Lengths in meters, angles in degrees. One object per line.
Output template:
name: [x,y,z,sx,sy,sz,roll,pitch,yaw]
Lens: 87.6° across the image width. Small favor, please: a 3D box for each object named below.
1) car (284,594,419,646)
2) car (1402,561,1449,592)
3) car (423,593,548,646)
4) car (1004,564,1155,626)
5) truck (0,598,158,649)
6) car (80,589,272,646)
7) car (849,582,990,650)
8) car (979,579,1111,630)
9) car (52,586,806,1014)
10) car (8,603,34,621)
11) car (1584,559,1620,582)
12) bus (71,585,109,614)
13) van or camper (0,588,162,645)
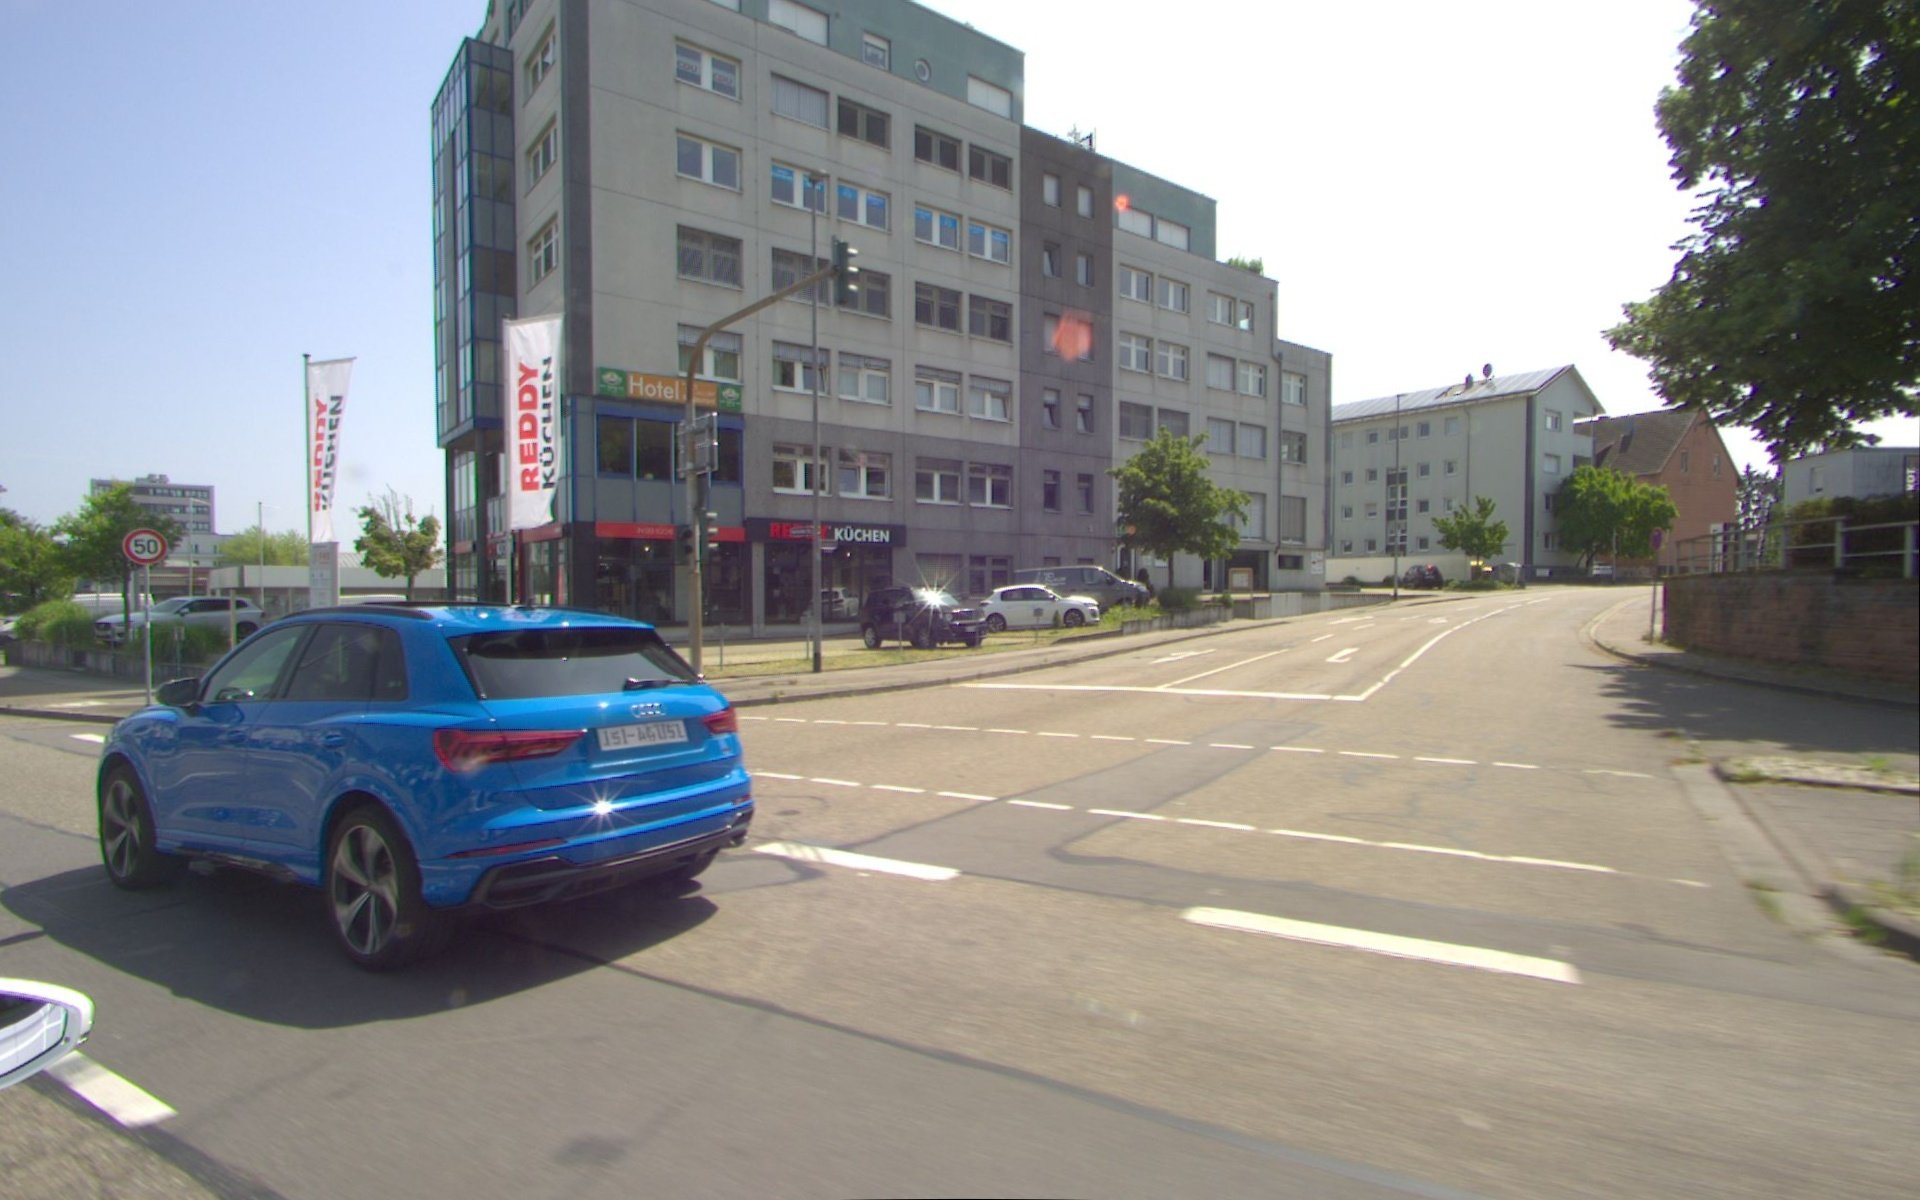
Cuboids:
car: [-31.933,1.079,52.662,5.839,2.560,2.103,1,-2,-40]
car: [28.516,-1.400,61.457,1.845,1.683,3.998,-1,-2,14]
car: [-26.784,1.122,56.689,6.071,2.845,1.983,1,-2,-41]
car: [4.184,-0.147,34.995,5.092,2.063,1.892,0,-2,9]
truck: [-45.860,1.150,52.182,6.197,2.369,2.347,-2,2,-41]
car: [-26.035,0.628,33.490,1.966,1.735,4.730,-1,-2,22]
car: [-1.184,0.426,27.195,1.526,1.697,4.293,0,-1,-40]
car: [2.785,0.162,32.520,4.144,1.553,1.543,-1,0,8]
car: [-3.168,0.801,5.741,4.332,1.618,1.910,-1,-1,32]
car: [-88.927,1.110,94.895,1.655,1.618,4.569,-2,2,-42]
car: [50.643,-2.319,78.985,1.705,1.528,3.918,-2,-2,43]
bus: [-102.482,-0.072,118.101,2.781,3.120,12.182,0,1,-38]
van or camper: [-48.768,0.839,55.624,6.749,2.937,2.253,-1,2,-43]
